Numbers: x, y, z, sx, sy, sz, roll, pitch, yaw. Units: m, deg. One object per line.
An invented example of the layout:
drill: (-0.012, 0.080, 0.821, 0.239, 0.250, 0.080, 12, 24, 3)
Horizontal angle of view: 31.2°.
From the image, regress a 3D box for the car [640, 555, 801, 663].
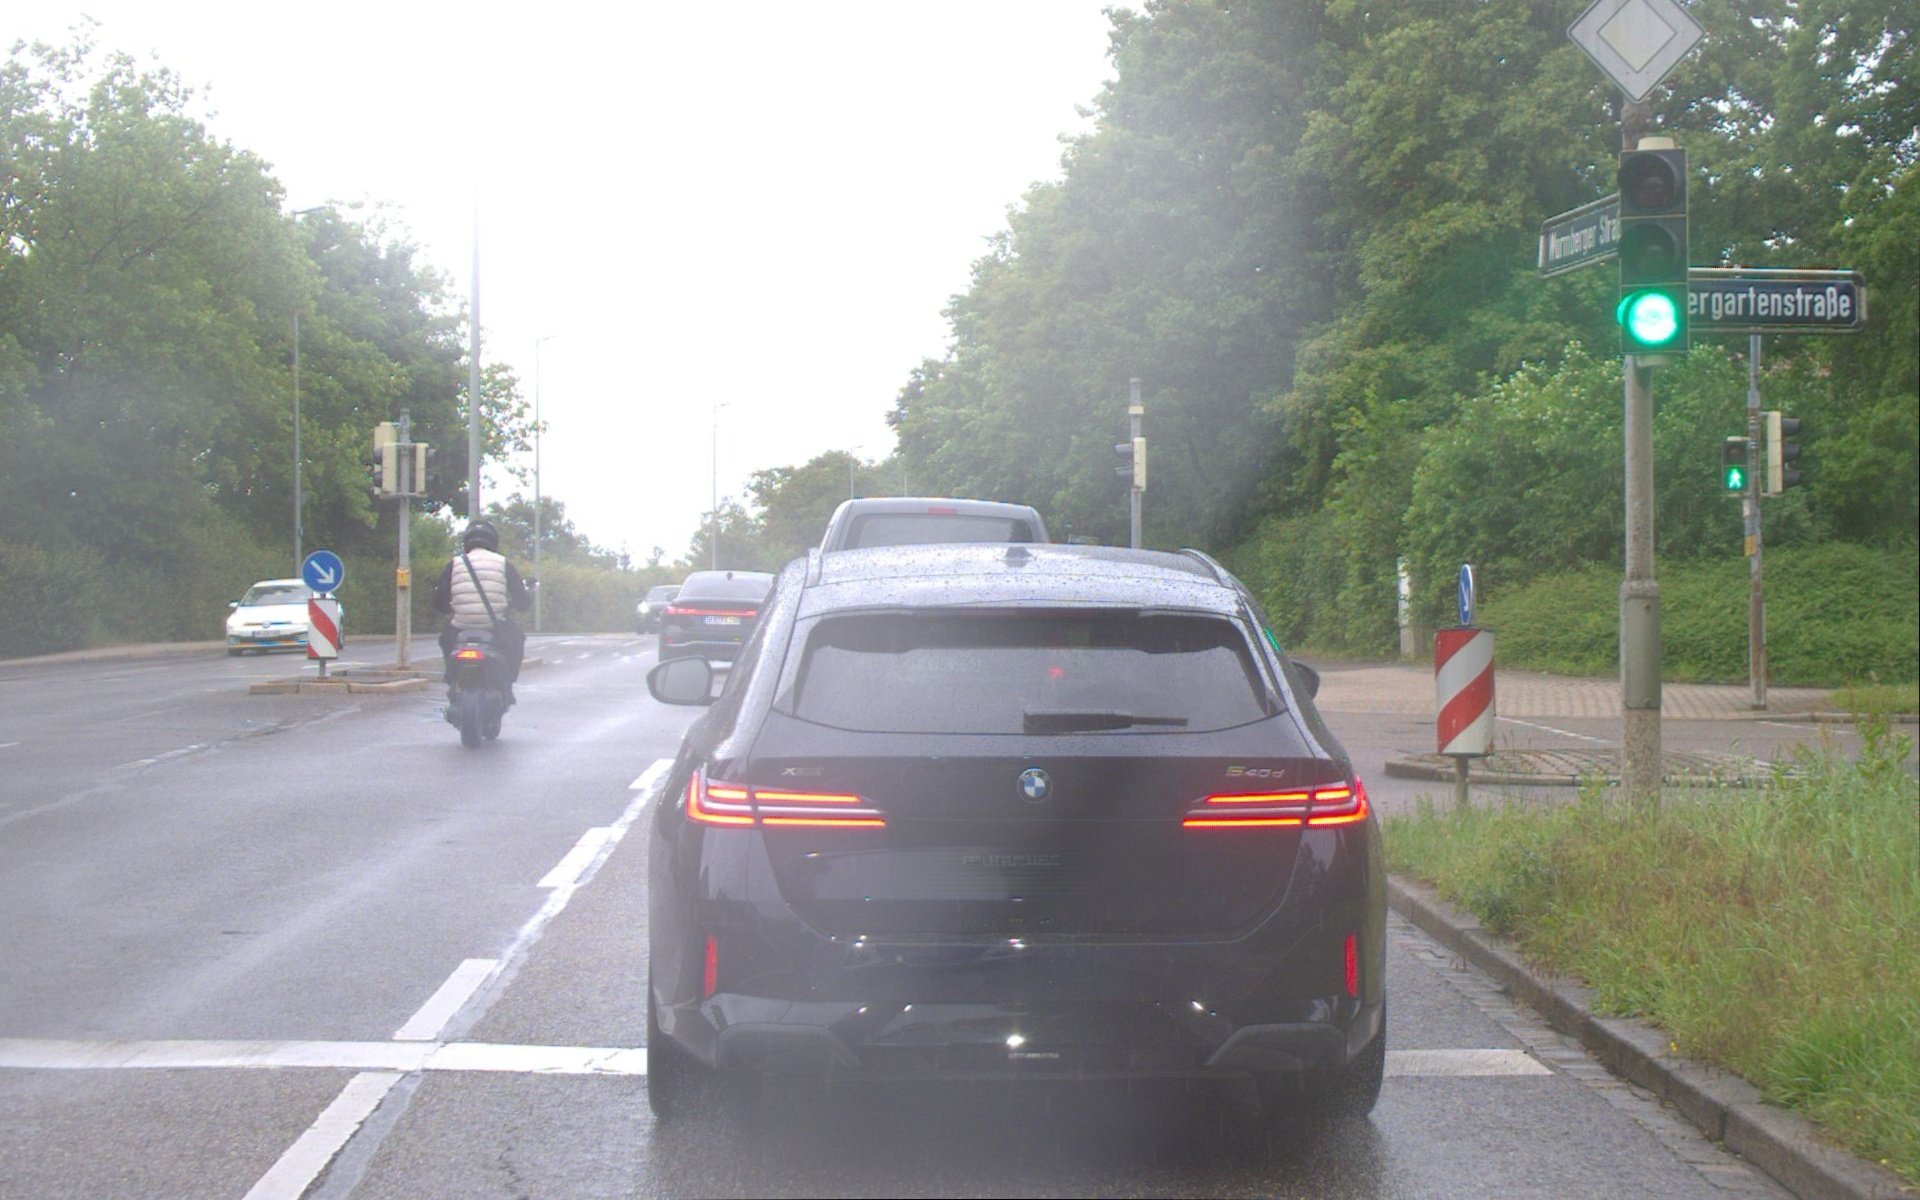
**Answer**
car: (-3.366, 0.093, 49.153, 2.014, 1.410, 4.487, 1, 1, -1)

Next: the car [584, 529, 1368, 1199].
car: (0.015, 0.585, 9.698, 1.764, 1.531, 3.673, 1, 1, -1)

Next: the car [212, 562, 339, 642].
car: (-13.460, 0.009, 67.800, 1.727, 1.480, 4.157, -2, 1, -2)

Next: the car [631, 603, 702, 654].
car: (-9.364, 0.898, 109.829, 2.025, 1.558, 3.877, -1, 0, -2)

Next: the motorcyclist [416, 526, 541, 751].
motorcyclist: (-3.544, 0.278, 25.333, 0.845, 1.641, 0.468, 1, 1, -1)

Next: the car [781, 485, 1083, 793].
car: (-0.190, 0.193, 22.408, 1.767, 1.804, 3.905, 1, 1, -1)

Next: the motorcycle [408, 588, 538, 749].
motorcycle: (-3.566, 0.486, 25.269, 0.741, 1.116, 1.426, 1, 1, -1)
